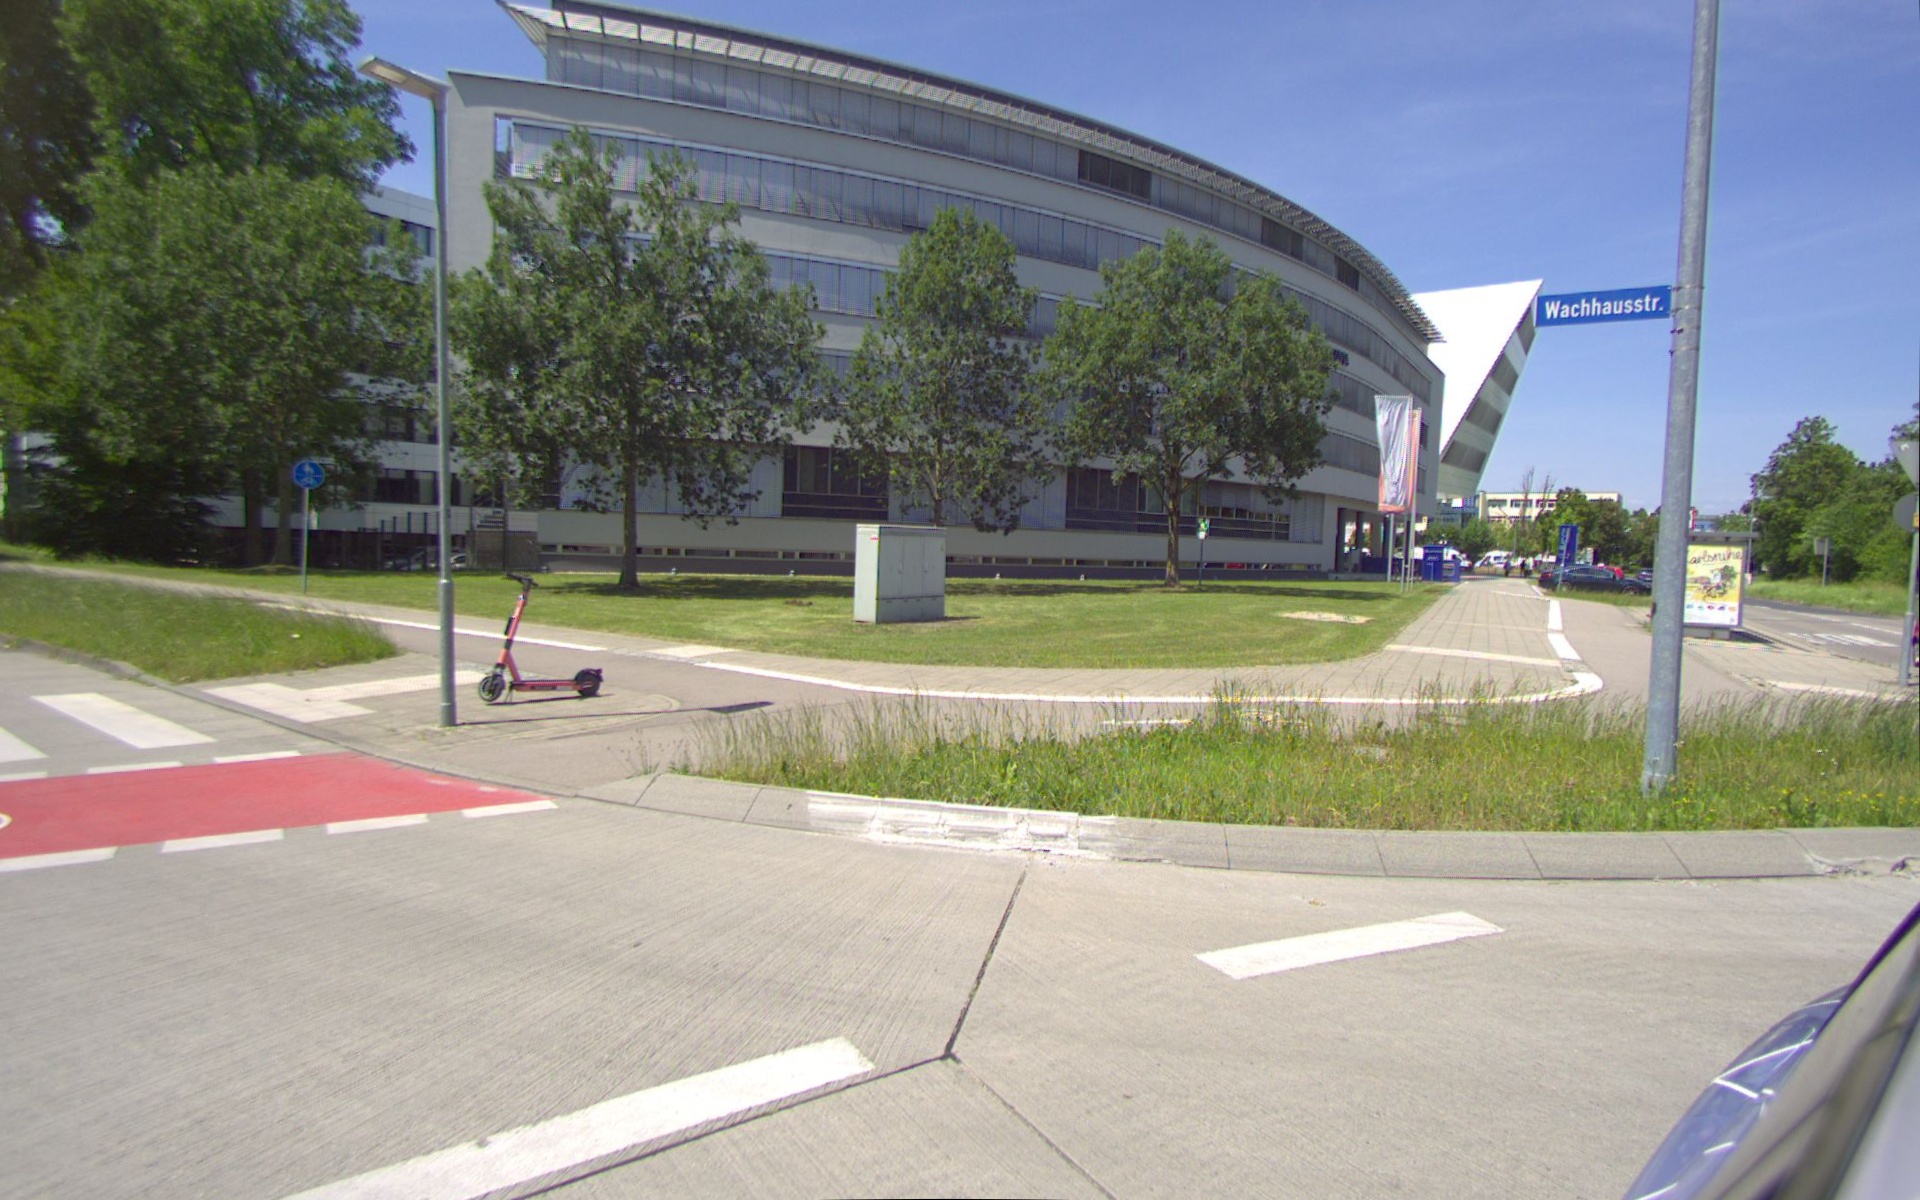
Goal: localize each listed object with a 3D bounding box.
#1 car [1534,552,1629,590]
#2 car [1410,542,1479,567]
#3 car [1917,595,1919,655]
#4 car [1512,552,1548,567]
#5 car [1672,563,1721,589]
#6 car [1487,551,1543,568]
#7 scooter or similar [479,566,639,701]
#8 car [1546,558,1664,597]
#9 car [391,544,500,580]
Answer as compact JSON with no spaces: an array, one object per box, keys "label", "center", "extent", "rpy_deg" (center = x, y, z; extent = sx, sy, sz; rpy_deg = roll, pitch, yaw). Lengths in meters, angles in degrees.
[{"label":"car","center":[31.382,-1.496,51.219],"extent":[3.971,1.674,1.819],"rpy_deg":[4,4,32]},{"label":"car","center":[56.275,-5.325,117.693],"extent":[6.936,2.694,2.224],"rpy_deg":[3,4,38]},{"label":"car","center":[18.875,0.408,18.216],"extent":[1.650,1.521,3.321],"rpy_deg":[2,3,31]},{"label":"car","center":[79.937,-5.664,142.024],"extent":[4.185,1.999,1.682],"rpy_deg":[3,3,36]},{"label":"car","center":[51.637,-1.669,71.064],"extent":[1.981,1.615,4.283],"rpy_deg":[4,2,26]},{"label":"car","center":[75.601,-5.492,137.978],"extent":[6.462,2.175,2.137],"rpy_deg":[3,4,36]},{"label":"scooter or similar","center":[-3.853,0.287,9.756],"extent":[1.372,1.216,0.448],"rpy_deg":[-1,3,-33]},{"label":"car","center":[30.739,-1.108,48.408],"extent":[4.543,1.448,1.810],"rpy_deg":[6,5,29]},{"label":"car","center":[-24.294,-1.827,47.910],"extent":[1.841,1.587,4.305],"rpy_deg":[3,4,34]}]
